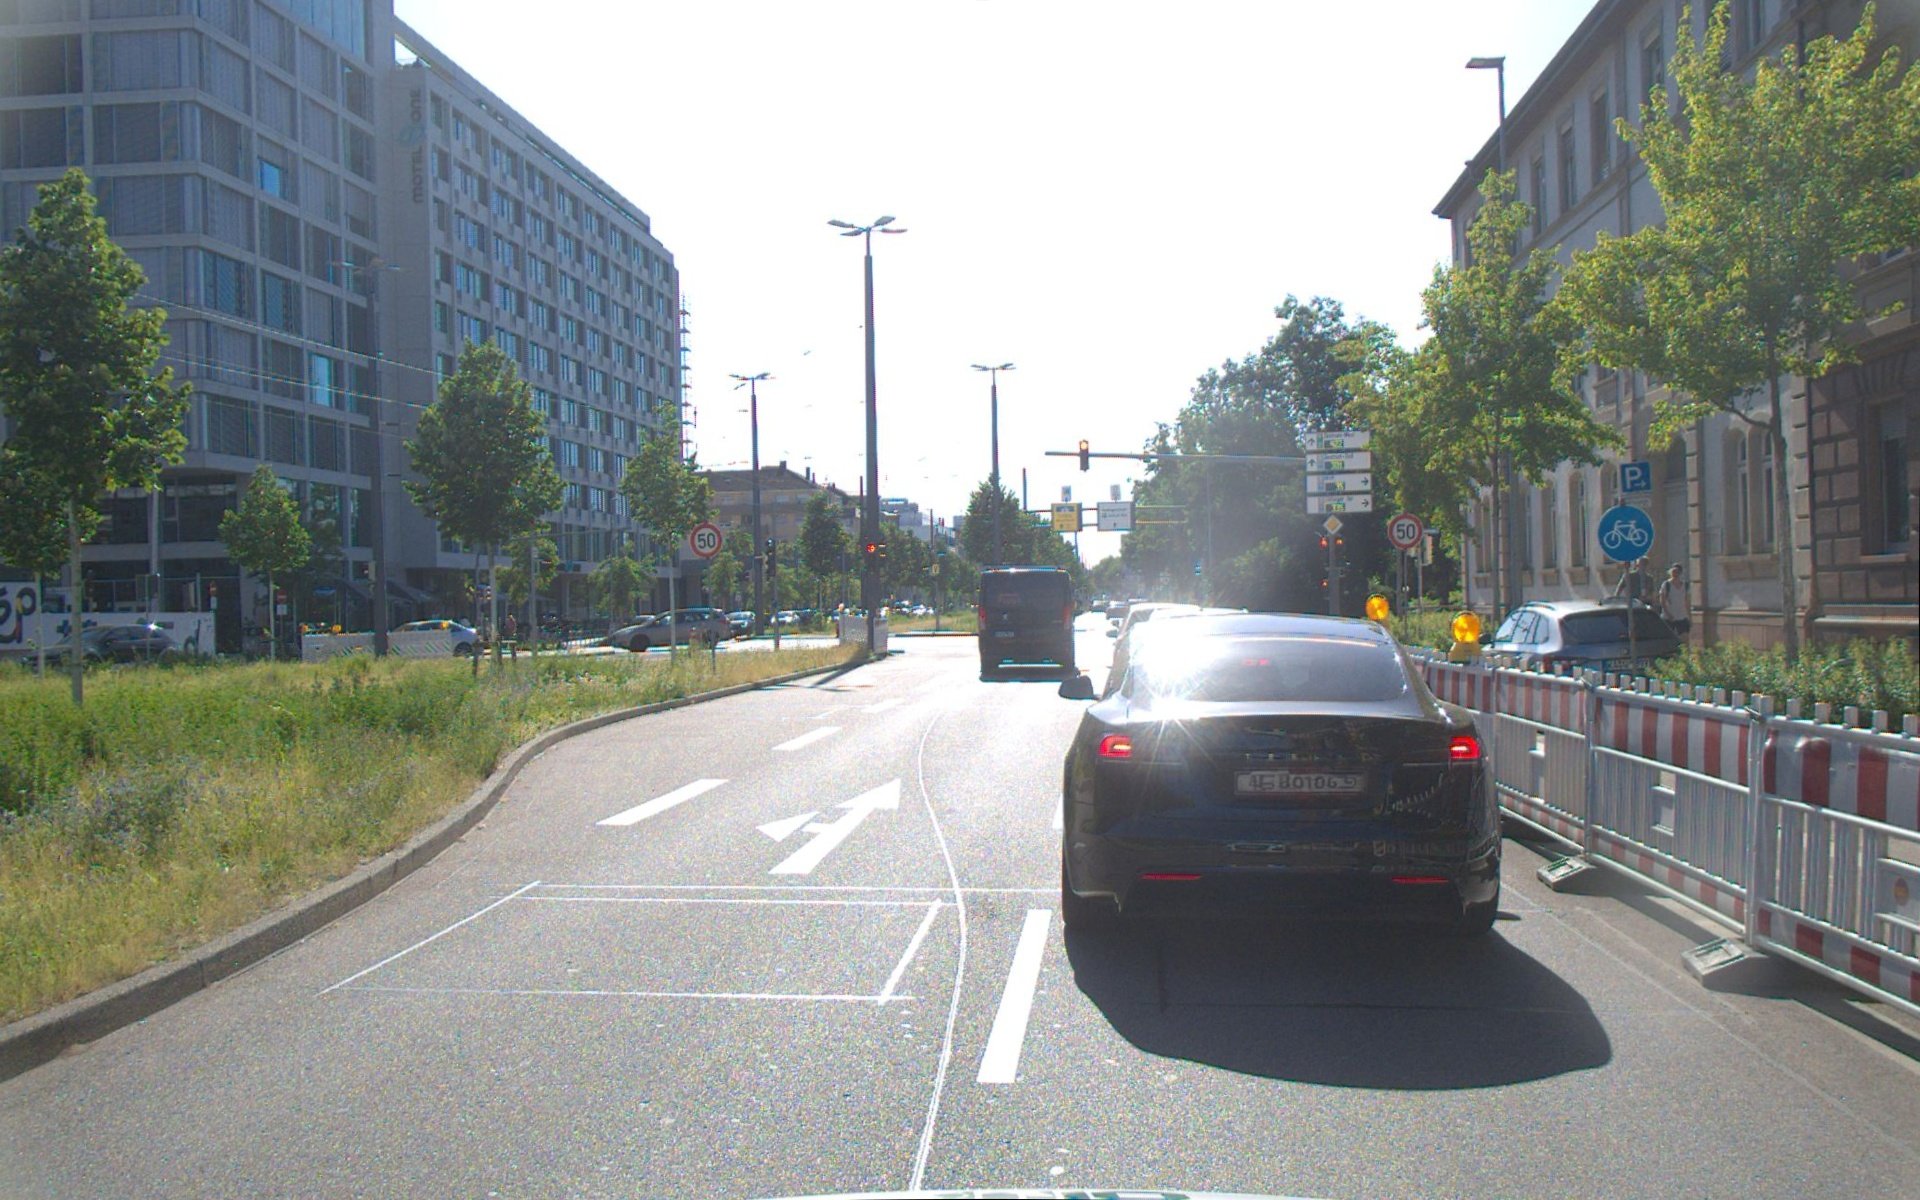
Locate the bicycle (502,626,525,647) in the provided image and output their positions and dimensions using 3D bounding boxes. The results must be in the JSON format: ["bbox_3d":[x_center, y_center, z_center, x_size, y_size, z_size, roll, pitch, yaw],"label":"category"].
[{"bbox_3d":[-24.157,1.957,89.551,0.574,1.119,1.624,0,-1,10],"label":"bicycle"}]

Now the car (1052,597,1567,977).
[{"bbox_3d":[1.585,0.726,8.801,2.008,1.469,4.527,0,0,5],"label":"car"}]

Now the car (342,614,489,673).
[{"bbox_3d":[-18.509,1.460,56.411,1.959,1.824,4.512,-2,0,34],"label":"car"}]

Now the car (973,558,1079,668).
[{"bbox_3d":[1.532,0.248,36.909,2.171,2.307,4.487,0,0,5],"label":"car"}]

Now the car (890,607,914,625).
[{"bbox_3d":[-5.661,1.581,163.035,1.770,1.680,4.003,-2,0,6],"label":"car"}]

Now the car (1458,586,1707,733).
[{"bbox_3d":[7.510,0.650,20.438,1.613,1.501,4.704,-4,0,5],"label":"car"}]

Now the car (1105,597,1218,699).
[{"bbox_3d":[3.322,0.732,27.406,1.712,1.554,4.008,0,0,6],"label":"car"}]

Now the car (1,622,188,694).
[{"bbox_3d":[-24.502,1.598,47.014,1.952,1.824,4.528,-2,0,20],"label":"car"}]

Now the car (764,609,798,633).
[{"bbox_3d":[-13.699,1.605,126.965,1.752,1.680,4.003,-2,0,6],"label":"car"}]

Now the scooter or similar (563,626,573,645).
[{"bbox_3d":[-20.267,1.846,85.526,0.223,0.964,0.768,-2,0,6],"label":"scooter or similar"}]

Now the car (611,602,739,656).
[{"bbox_3d":[-10.707,1.070,62.050,4.445,1.824,1.989,-2,0,-20],"label":"car"}]

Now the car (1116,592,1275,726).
[{"bbox_3d":[2.813,0.635,20.546,1.711,1.452,4.841,-1,0,5],"label":"car"}]

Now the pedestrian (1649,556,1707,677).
[{"bbox_3d":[11.342,0.254,26.130,0.551,1.852,0.588,-4,0,5],"label":"pedestrian"}]

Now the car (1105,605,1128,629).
[{"bbox_3d":[12.572,1.354,133.061,1.754,1.906,3.852,0,0,4],"label":"car"}]

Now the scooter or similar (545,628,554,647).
[{"bbox_3d":[-21.286,1.941,85.774,0.279,0.964,0.767,-2,0,-1],"label":"scooter or similar"}]

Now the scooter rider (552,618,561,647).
[{"bbox_3d":[-20.931,1.671,85.853,0.335,1.478,0.239,-2,0,6],"label":"scooter rider"}]

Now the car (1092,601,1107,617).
[{"bbox_3d":[16.554,1.104,196.266,1.754,1.906,3.852,0,0,4],"label":"car"}]

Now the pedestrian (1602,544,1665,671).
[{"bbox_3d":[10.643,0.121,26.156,0.644,1.946,0.588,-4,0,5],"label":"pedestrian"}]

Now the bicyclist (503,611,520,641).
[{"bbox_3d":[-24.287,1.401,89.582,0.581,1.608,0.893,0,-1,10],"label":"bicyclist"}]

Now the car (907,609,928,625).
[{"bbox_3d":[-4.709,1.854,184.877,1.752,1.680,4.003,-2,0,6],"label":"car"}]

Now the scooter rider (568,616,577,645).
[{"bbox_3d":[-20.029,1.580,85.525,0.335,1.478,0.239,-2,0,6],"label":"scooter rider"}]

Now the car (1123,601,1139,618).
[{"bbox_3d":[19.836,1.092,191.640,1.754,1.906,3.852,0,0,4],"label":"car"}]

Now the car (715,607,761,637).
[{"bbox_3d":[-13.207,1.275,98.745,1.752,1.680,4.003,-2,0,6],"label":"car"}]
